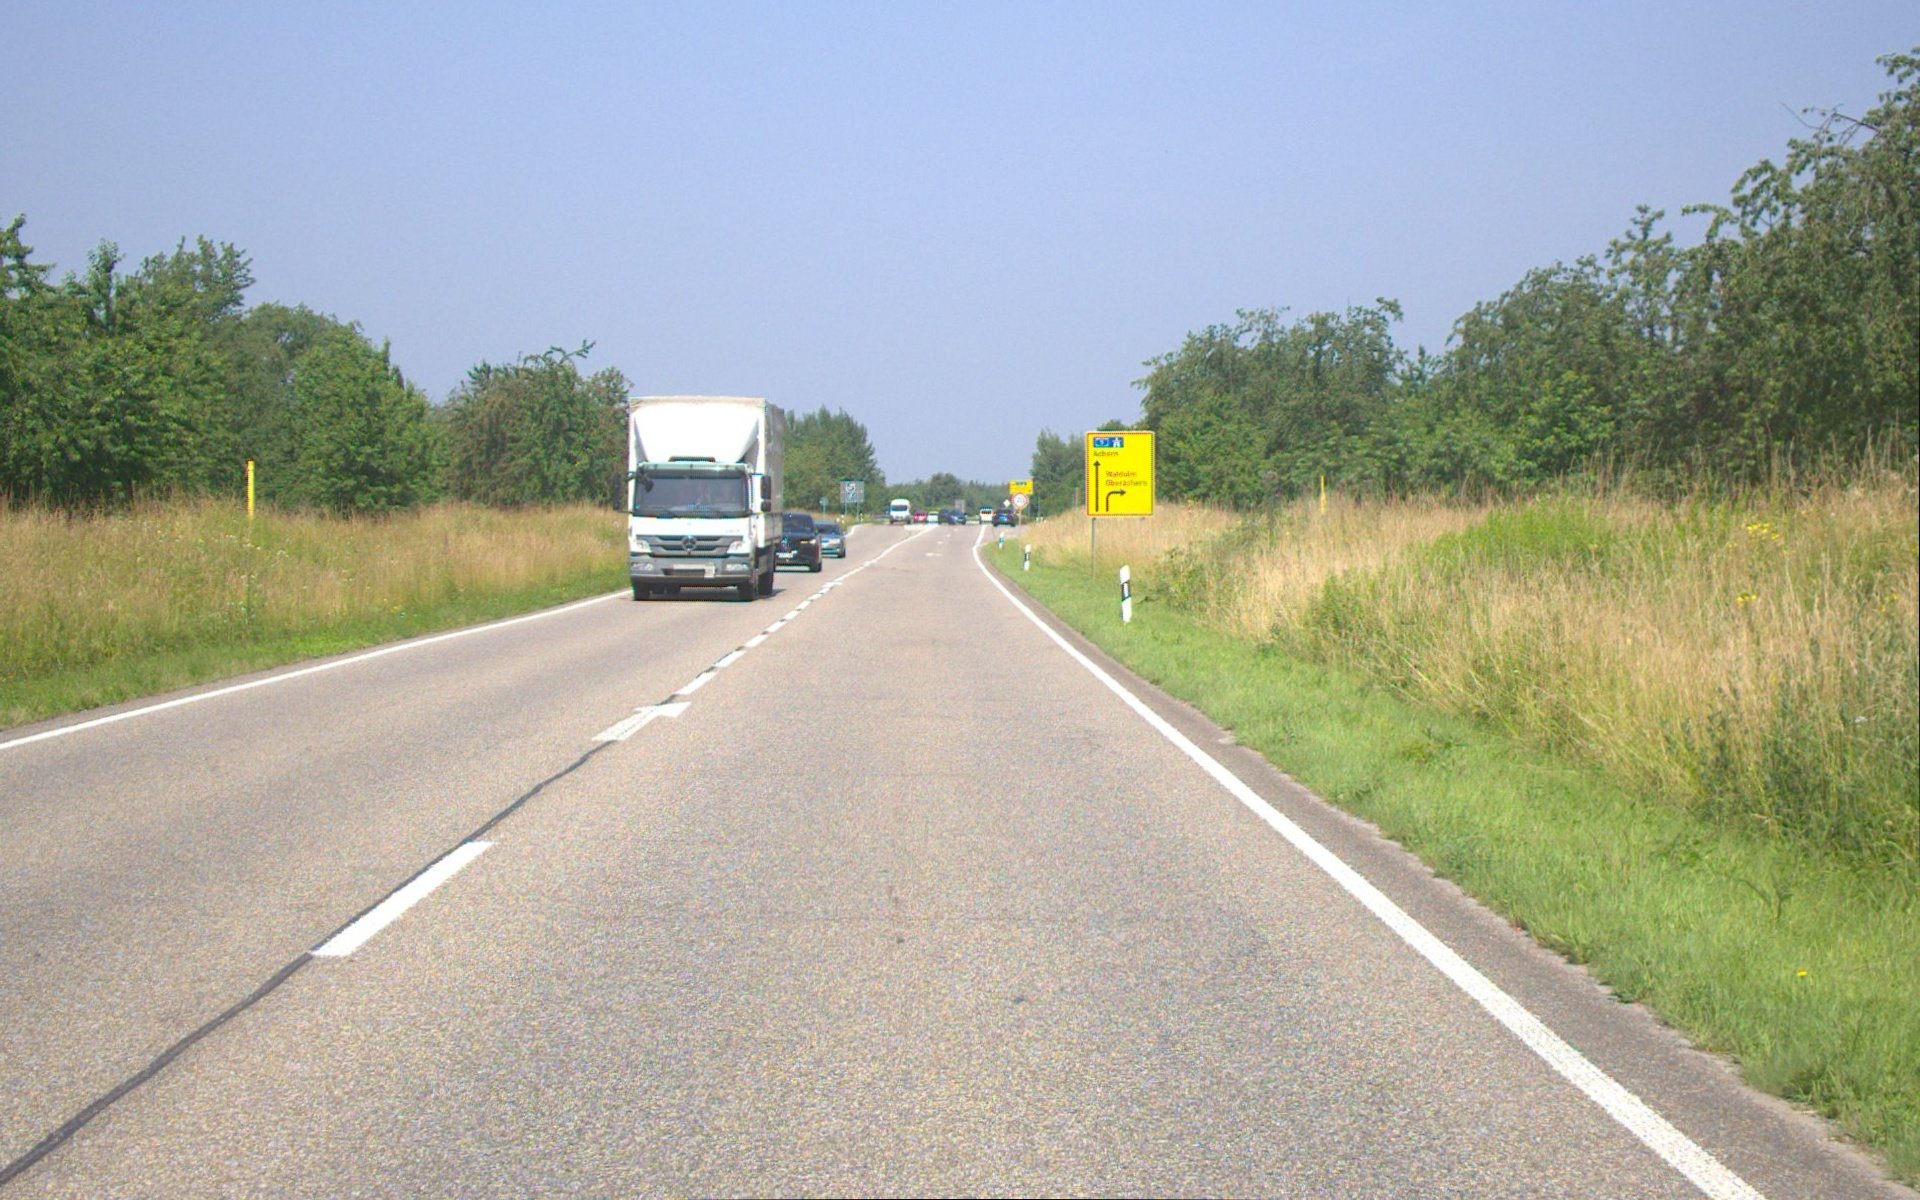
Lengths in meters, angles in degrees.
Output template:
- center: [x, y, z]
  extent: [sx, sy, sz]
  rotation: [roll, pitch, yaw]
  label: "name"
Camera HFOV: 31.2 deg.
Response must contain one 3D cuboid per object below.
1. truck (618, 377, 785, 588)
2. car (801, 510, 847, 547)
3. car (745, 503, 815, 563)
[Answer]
- center: [-4.974, -2.257, 67.714]
  extent: [2.664, 3.825, 10.210]
  rotation: [0, 1, -1]
  label: "truck"
- center: [-5.288, -2.783, 134.044]
  extent: [1.690, 1.404, 4.895]
  rotation: [0, 1, -1]
  label: "car"
- center: [-5.123, -1.931, 98.390]
  extent: [1.836, 1.672, 4.411]
  rotation: [0, 1, -1]
  label: "car"
